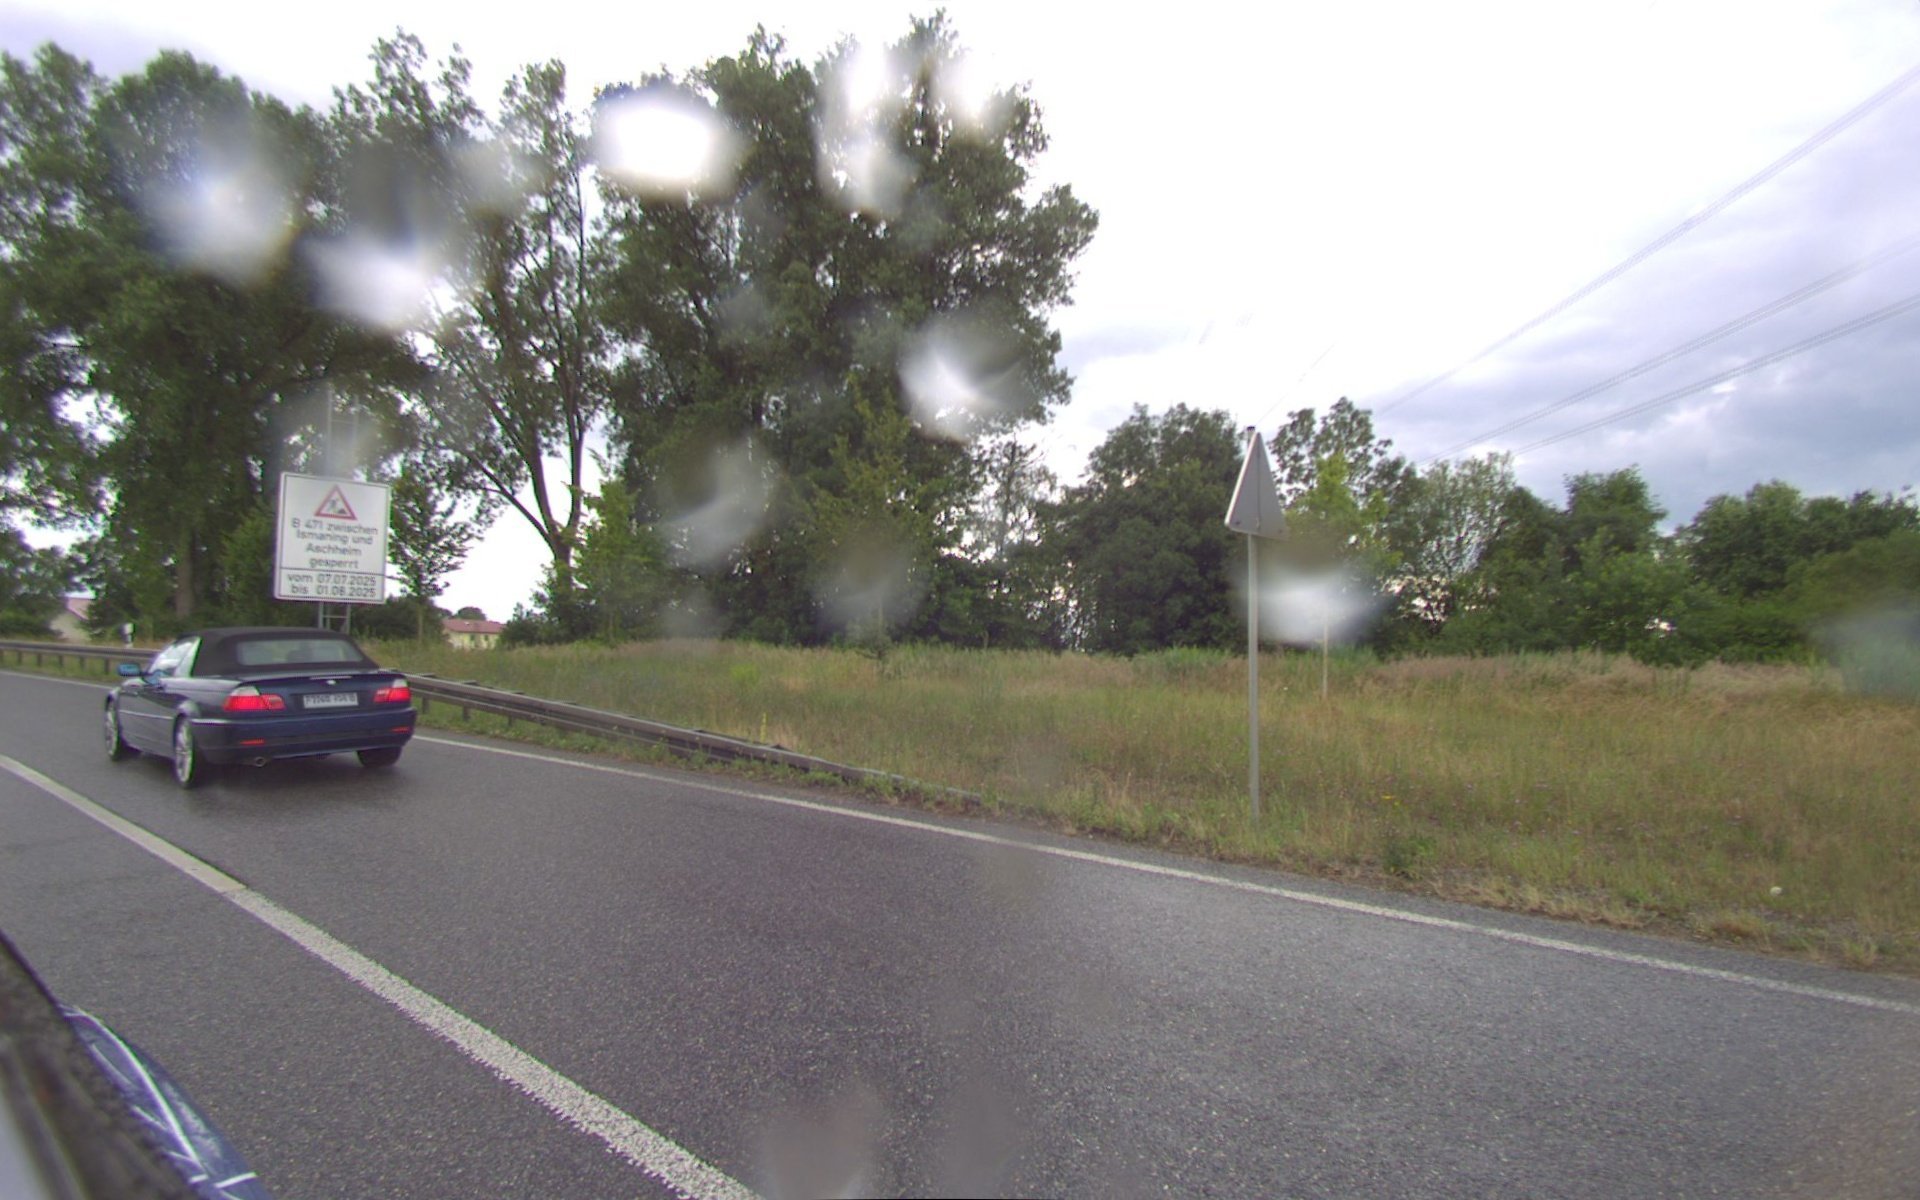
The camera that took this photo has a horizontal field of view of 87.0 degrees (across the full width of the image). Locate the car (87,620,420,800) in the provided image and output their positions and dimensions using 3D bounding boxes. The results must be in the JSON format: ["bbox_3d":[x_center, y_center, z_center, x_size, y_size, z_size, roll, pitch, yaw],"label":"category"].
[{"bbox_3d":[-7.057,0.902,9.935,4.316,1.407,1.613,-1,-2,40],"label":"car"}]
